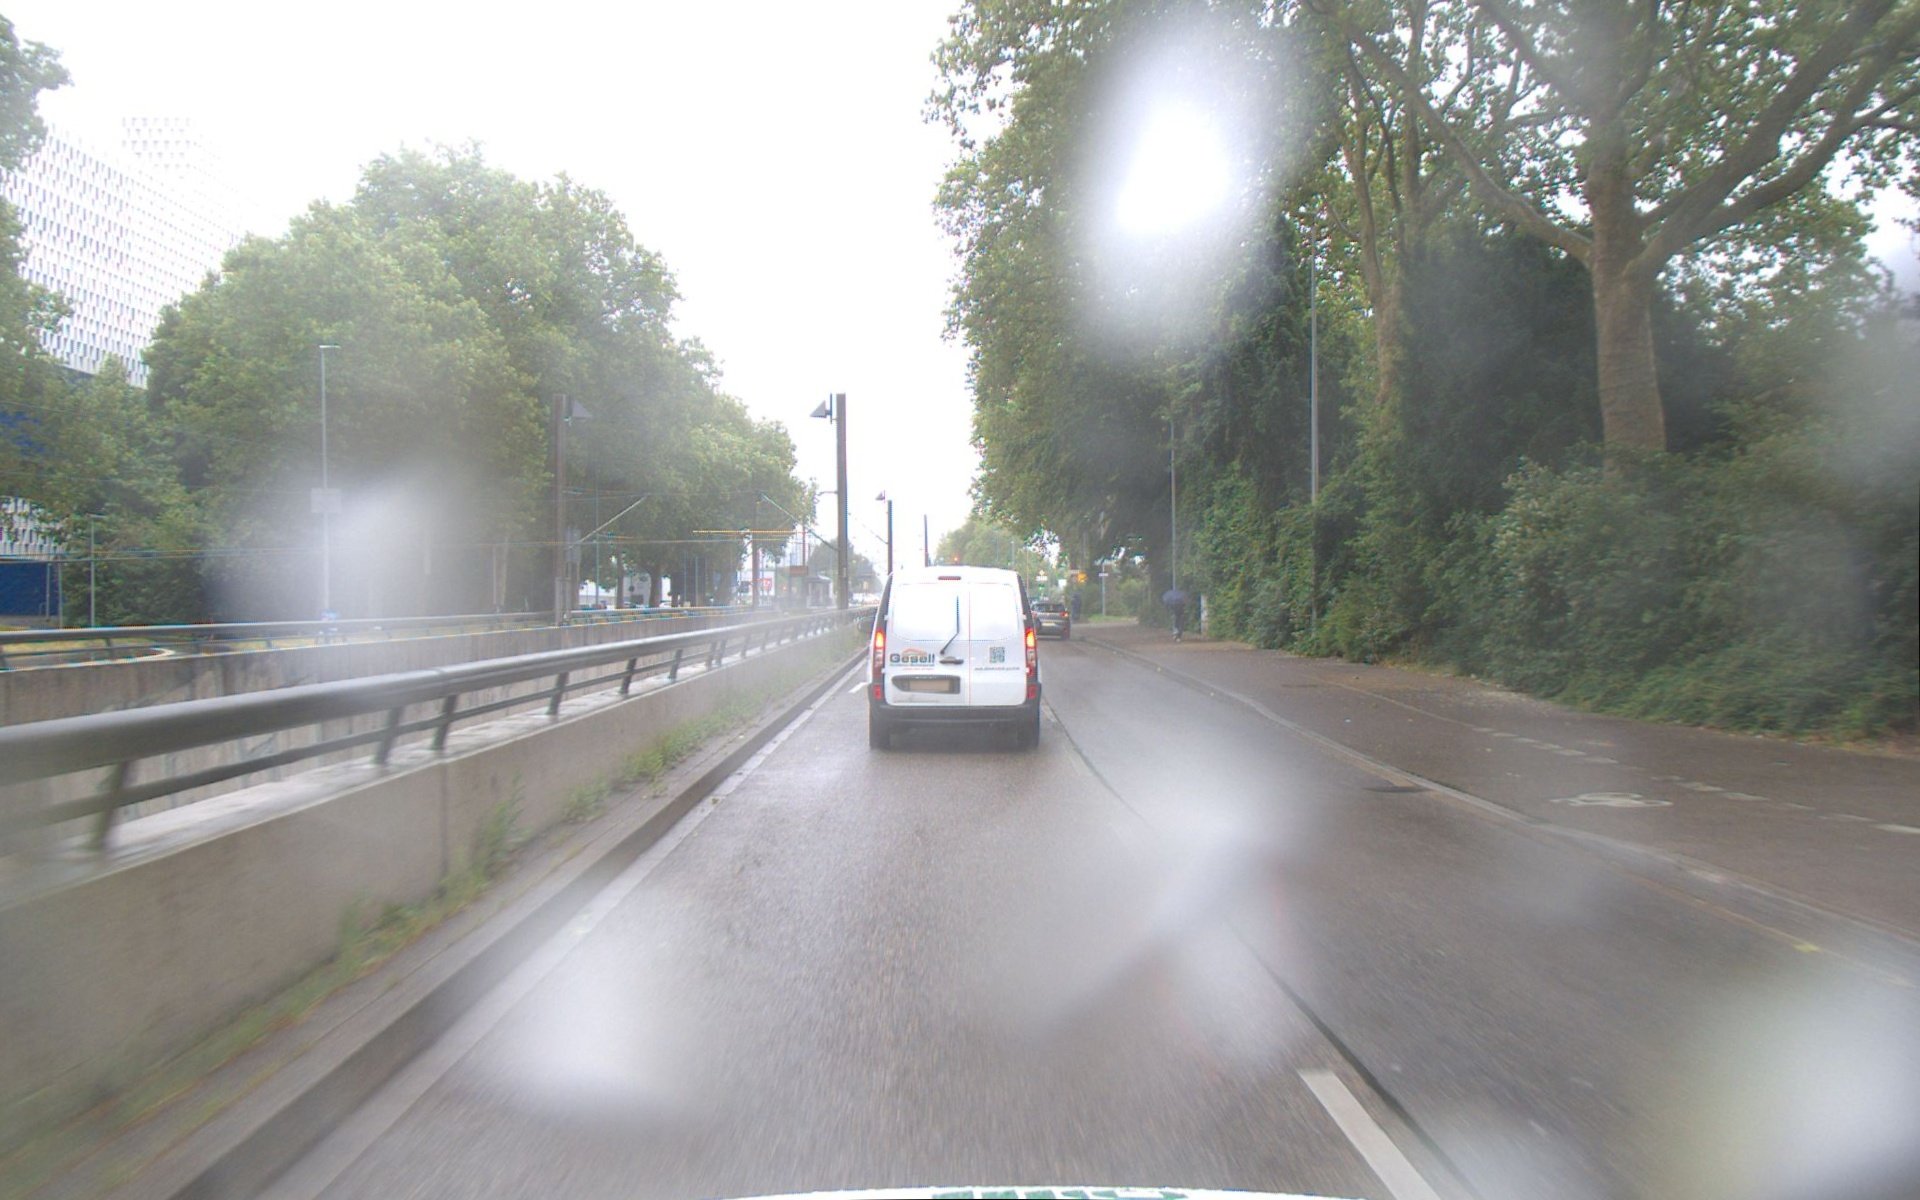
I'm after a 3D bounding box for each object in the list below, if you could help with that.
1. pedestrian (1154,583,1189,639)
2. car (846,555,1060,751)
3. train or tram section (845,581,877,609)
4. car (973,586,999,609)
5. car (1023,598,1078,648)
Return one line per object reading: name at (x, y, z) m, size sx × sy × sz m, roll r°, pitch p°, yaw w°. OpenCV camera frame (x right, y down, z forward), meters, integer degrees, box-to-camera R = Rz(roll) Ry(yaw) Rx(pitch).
pedestrian at (6.706, 0.358, 52.490) m, size 0.947 × 1.732 × 1.141 m, roll 1°, pitch 0°, yaw 0°
car at (-0.105, 0.503, 17.734) m, size 1.984 × 1.806 × 4.273 m, roll 1°, pitch 0°, yaw -1°
train or tram section at (-16.020, -0.745, 269.301) m, size 3.693 × 4.107 × 27.088 m, roll 1°, pitch 0°, yaw -1°
car at (2.107, -0.228, 133.705) m, size 1.952 × 1.780 × 4.000 m, roll 1°, pitch 0°, yaw 1°
car at (3.371, 0.848, 62.087) m, size 1.952 × 1.780 × 4.001 m, roll 1°, pitch 0°, yaw 2°
